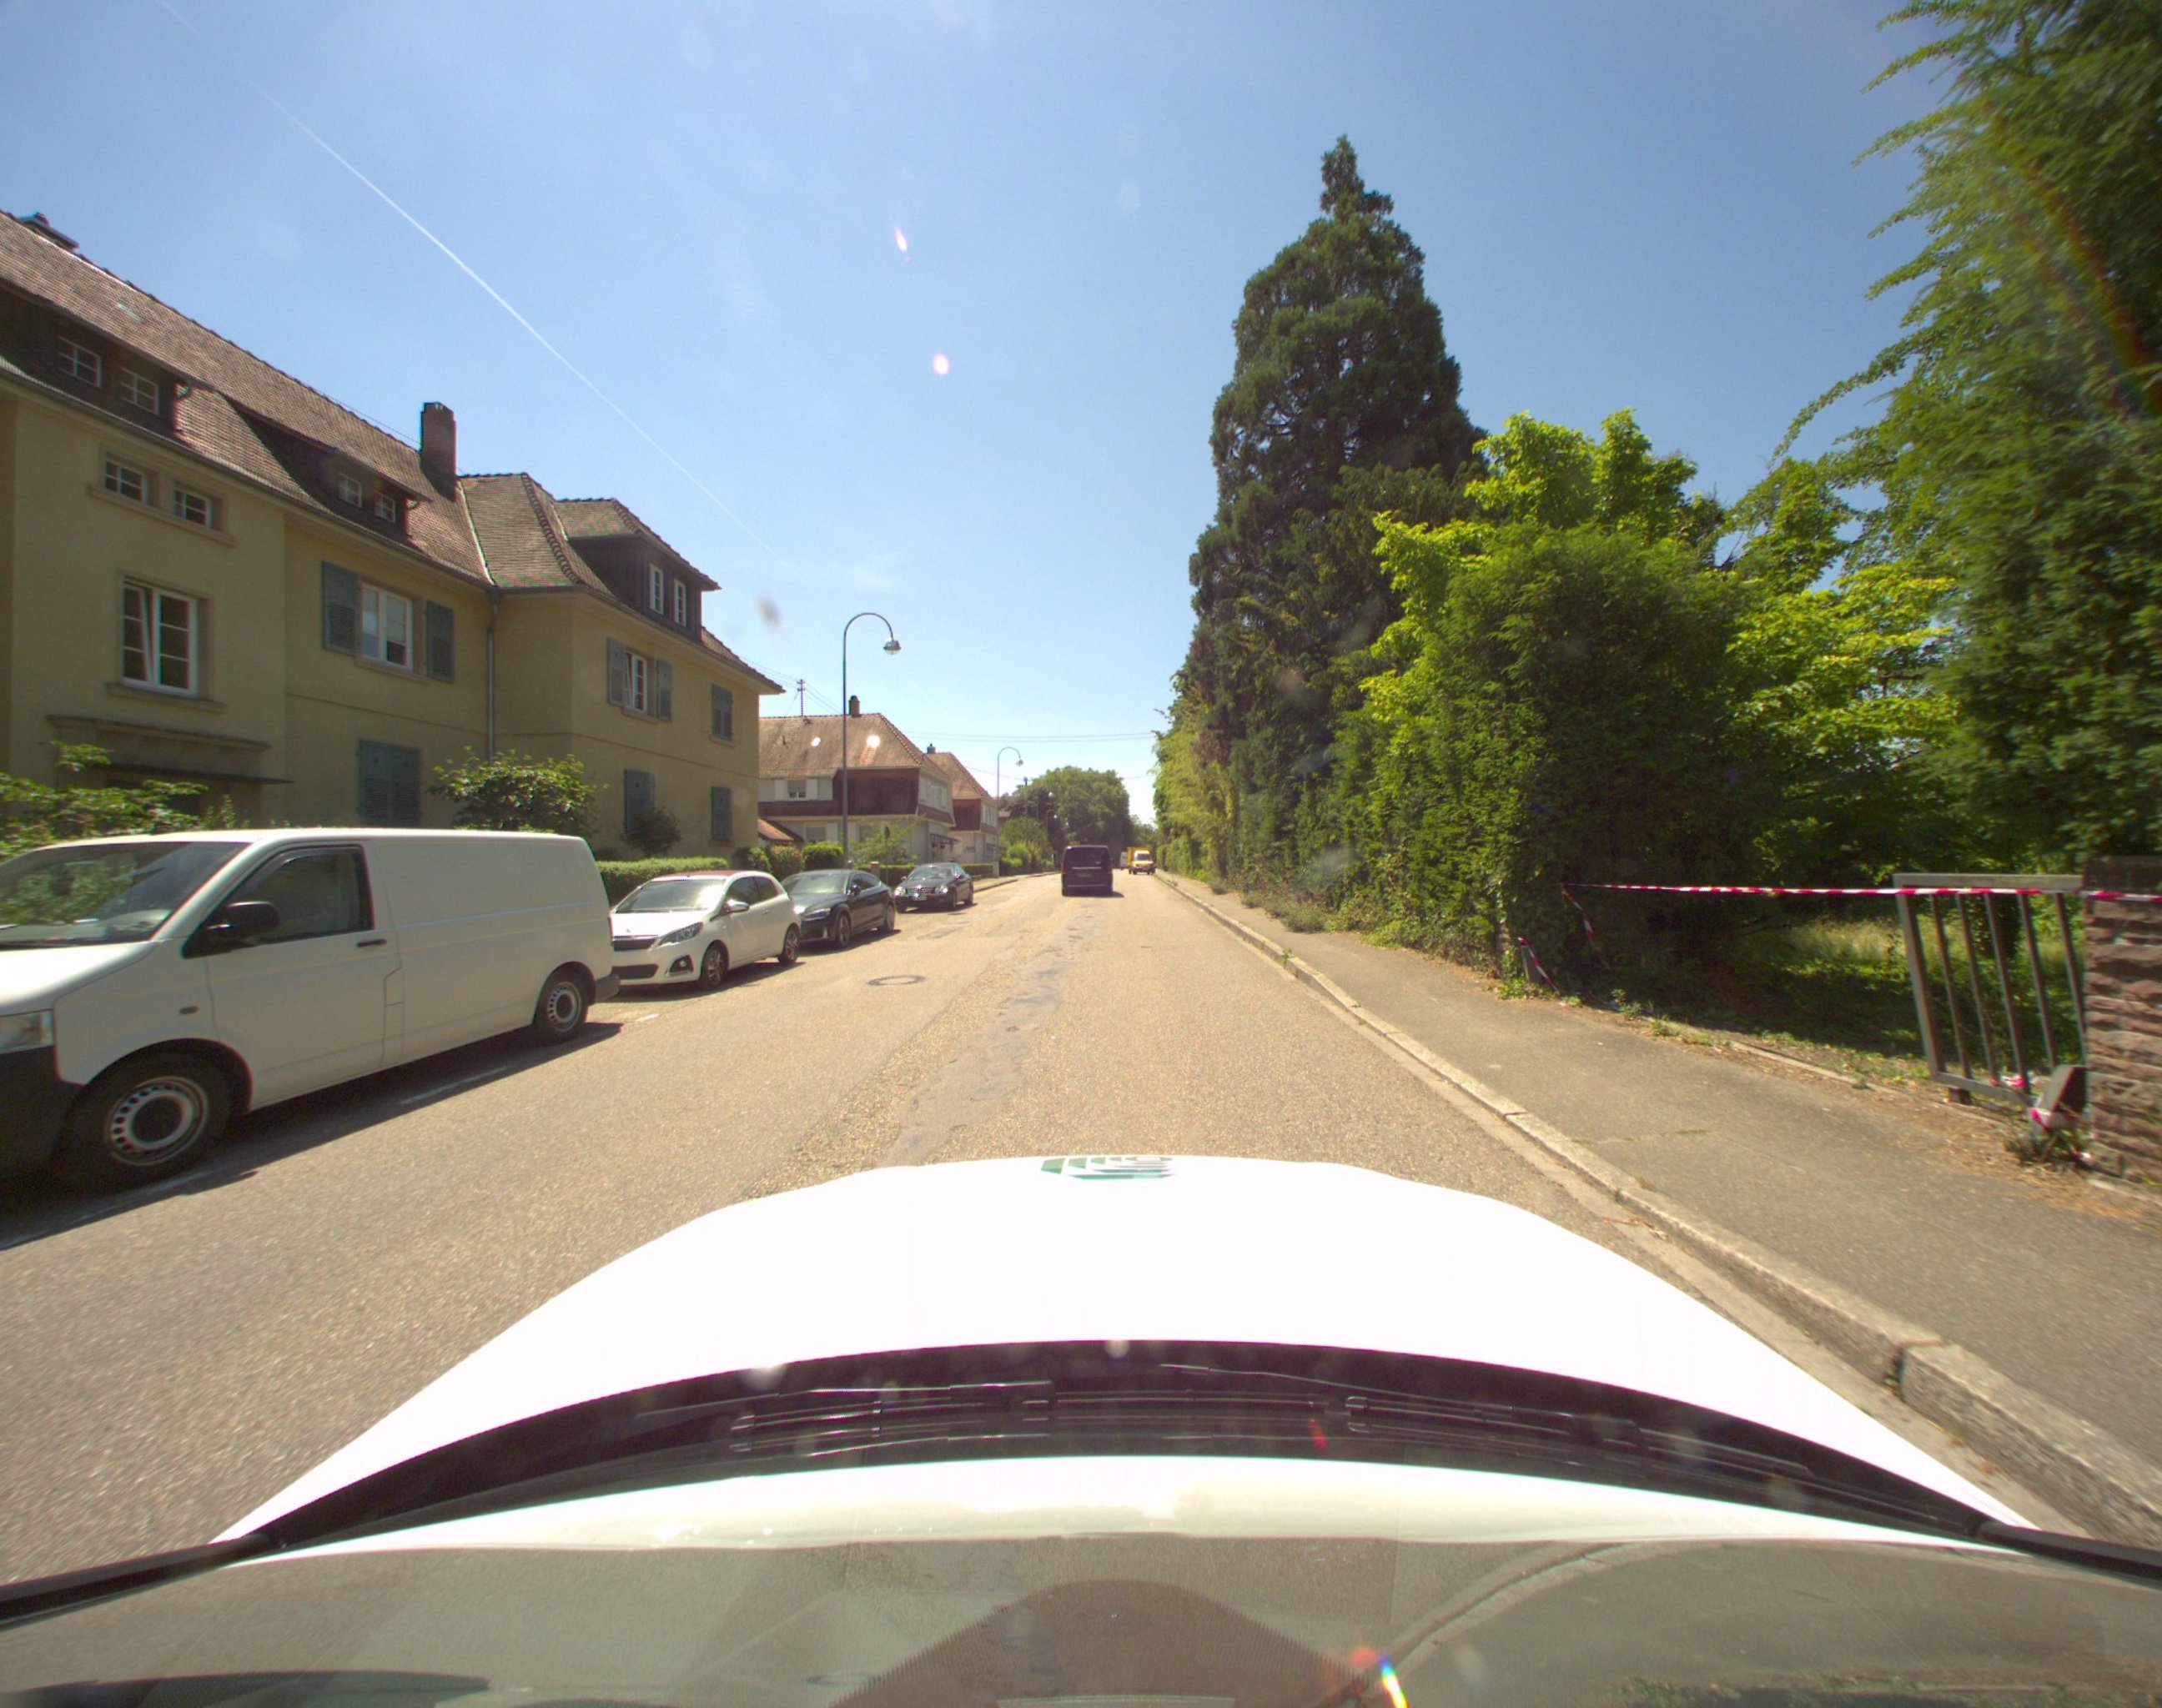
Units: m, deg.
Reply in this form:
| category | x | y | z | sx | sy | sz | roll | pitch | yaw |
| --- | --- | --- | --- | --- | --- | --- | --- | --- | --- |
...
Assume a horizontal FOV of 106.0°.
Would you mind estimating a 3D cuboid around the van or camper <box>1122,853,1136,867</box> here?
| category | x | y | z | sx | sy | sz | roll | pitch | yaw |
| --- | --- | --- | --- | --- | --- | --- | --- | --- | --- |
| van or camper | 6.996 | 0.893 | 117.877 | 1.984 | 2.014 | 4.004 | -1 | -1 | 4 |

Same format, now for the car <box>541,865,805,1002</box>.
| category | x | y | z | sx | sy | sz | roll | pitch | yaw |
| --- | --- | --- | --- | --- | --- | --- | --- | --- | --- |
| car | -5.287 | 0.939 | 11.110 | 1.659 | 1.492 | 3.481 | -2 | 0 | 3 |

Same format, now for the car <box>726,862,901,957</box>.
| category | x | y | z | sx | sy | sz | roll | pitch | yaw |
| --- | --- | --- | --- | --- | --- | --- | --- | --- | --- |
| car | -4.908 | 0.941 | 15.667 | 1.659 | 1.492 | 4.469 | -1 | 0 | 3 |

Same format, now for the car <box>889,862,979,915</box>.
| category | x | y | z | sx | sy | sz | roll | pitch | yaw |
| --- | --- | --- | --- | --- | --- | --- | --- | --- | --- |
| car | -4.393 | 0.988 | 25.001 | 1.659 | 1.386 | 4.384 | -3 | 0 | 3 |

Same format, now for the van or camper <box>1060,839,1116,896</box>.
| category | x | y | z | sx | sy | sz | roll | pitch | yaw |
| --- | --- | --- | --- | --- | --- | --- | --- | --- | --- |
| van or camper | 0.356 | 0.505 | 31.313 | 1.894 | 2.014 | 5.274 | 0 | -1 | 3 |

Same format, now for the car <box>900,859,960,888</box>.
| category | x | y | z | sx | sy | sz | roll | pitch | yaw |
| --- | --- | --- | --- | --- | --- | --- | --- | --- | --- |
| car | -10.732 | 1.406 | 58.138 | 3.852 | 1.905 | 1.881 | -2 | 0 | 2 |

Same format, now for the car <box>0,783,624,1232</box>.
| category | x | y | z | sx | sy | sz | roll | pitch | yaw |
| --- | --- | --- | --- | --- | --- | --- | --- | --- | --- |
| car | -5.578 | 0.725 | 5.690 | 1.870 | 1.963 | 4.629 | -4 | 0 | 3 |

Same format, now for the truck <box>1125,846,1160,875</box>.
| category | x | y | z | sx | sy | sz | roll | pitch | yaw |
| --- | --- | --- | --- | --- | --- | --- | --- | --- | --- |
| truck | 5.093 | 0.538 | 67.929 | 2.348 | 2.258 | 6.089 | -1 | -1 | 0 |
